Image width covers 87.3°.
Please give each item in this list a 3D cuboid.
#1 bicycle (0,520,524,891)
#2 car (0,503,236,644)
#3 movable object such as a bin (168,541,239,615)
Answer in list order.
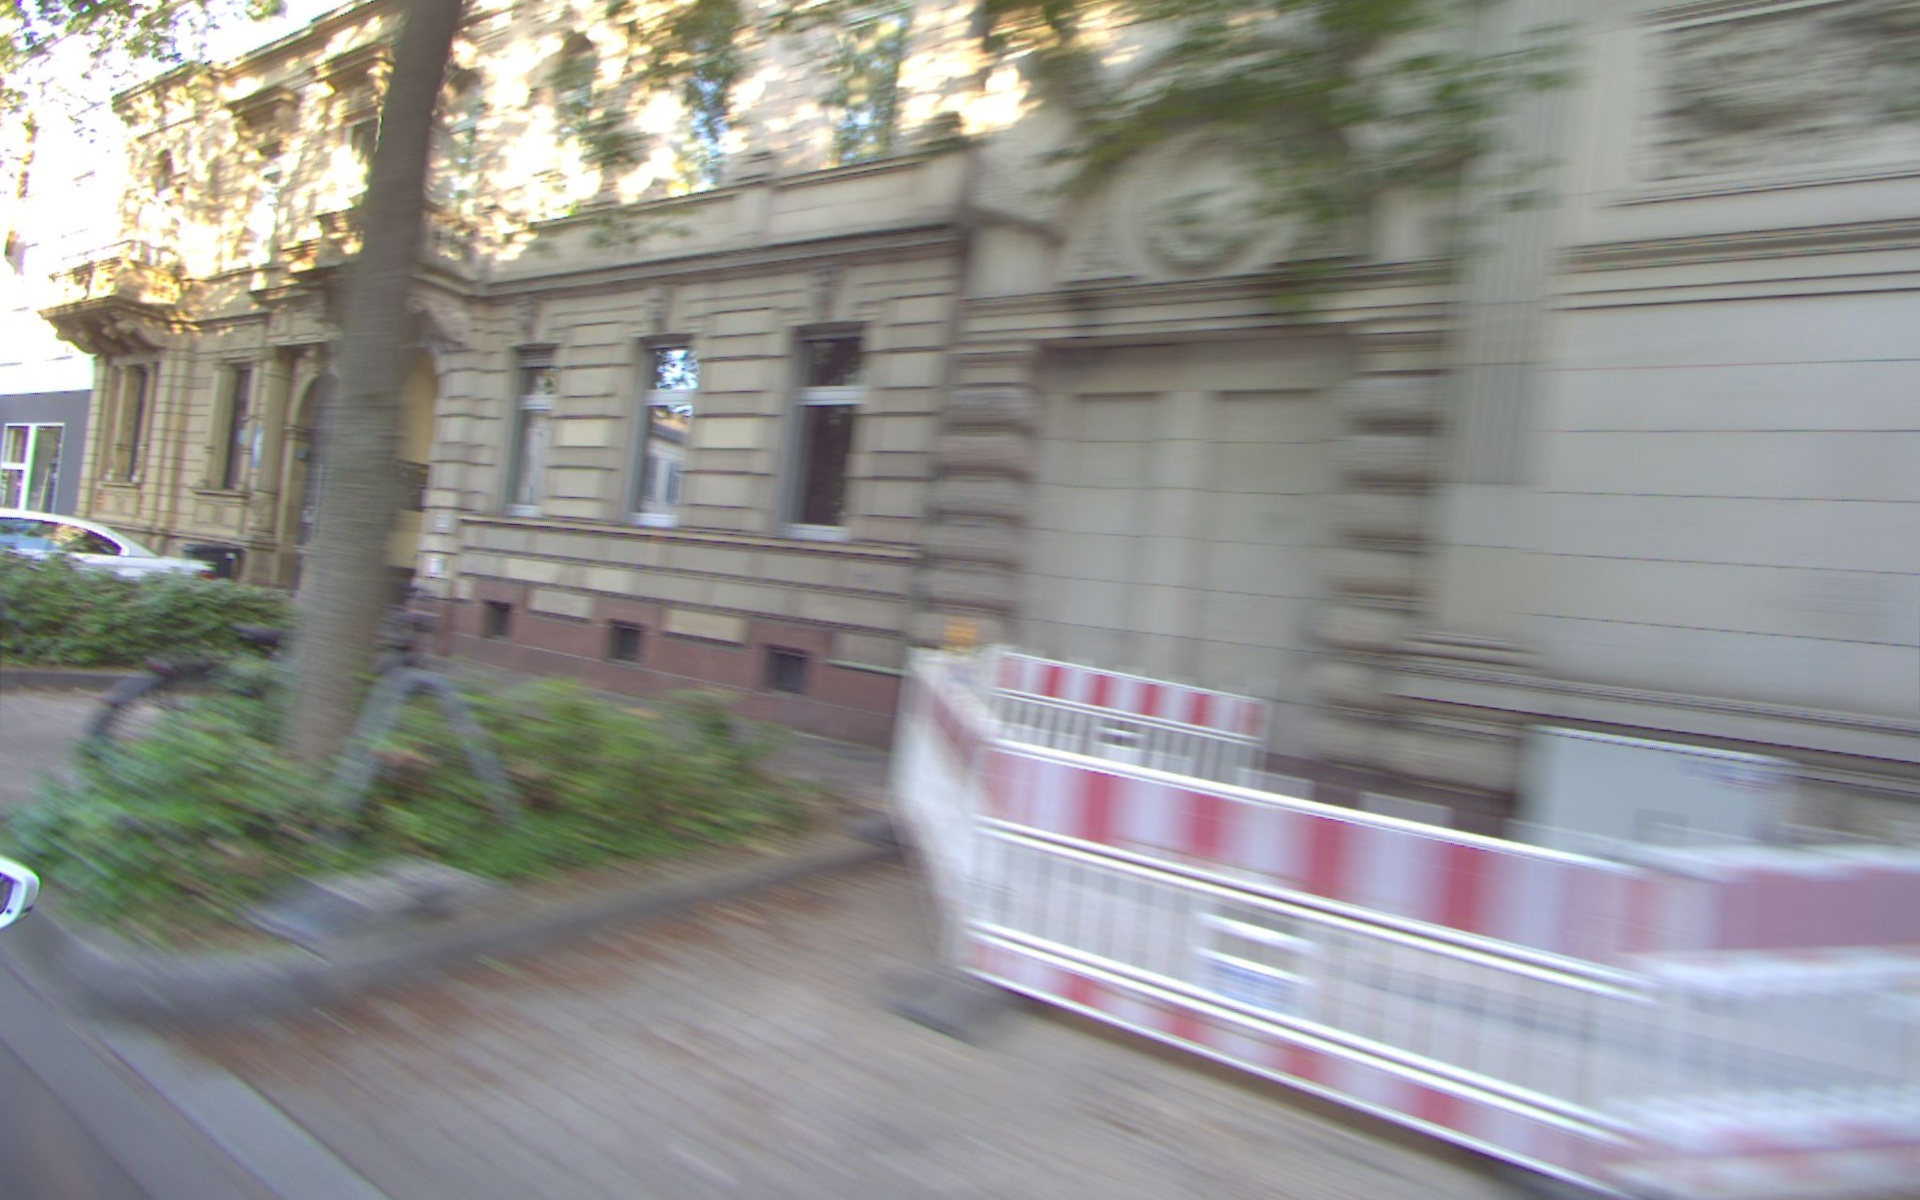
[{"bbox_3d":[-3.220,0.501,4.791,0.500,1.375,2.052,7,-3,30],"label":"bicycle"},{"bbox_3d":[-11.539,-0.440,11.720,1.894,1.454,4.588,6,-1,34],"label":"car"},{"bbox_3d":[-11.882,-0.345,15.807,0.605,1.077,0.658,6,0,32],"label":"movable object such as a bin"}]
